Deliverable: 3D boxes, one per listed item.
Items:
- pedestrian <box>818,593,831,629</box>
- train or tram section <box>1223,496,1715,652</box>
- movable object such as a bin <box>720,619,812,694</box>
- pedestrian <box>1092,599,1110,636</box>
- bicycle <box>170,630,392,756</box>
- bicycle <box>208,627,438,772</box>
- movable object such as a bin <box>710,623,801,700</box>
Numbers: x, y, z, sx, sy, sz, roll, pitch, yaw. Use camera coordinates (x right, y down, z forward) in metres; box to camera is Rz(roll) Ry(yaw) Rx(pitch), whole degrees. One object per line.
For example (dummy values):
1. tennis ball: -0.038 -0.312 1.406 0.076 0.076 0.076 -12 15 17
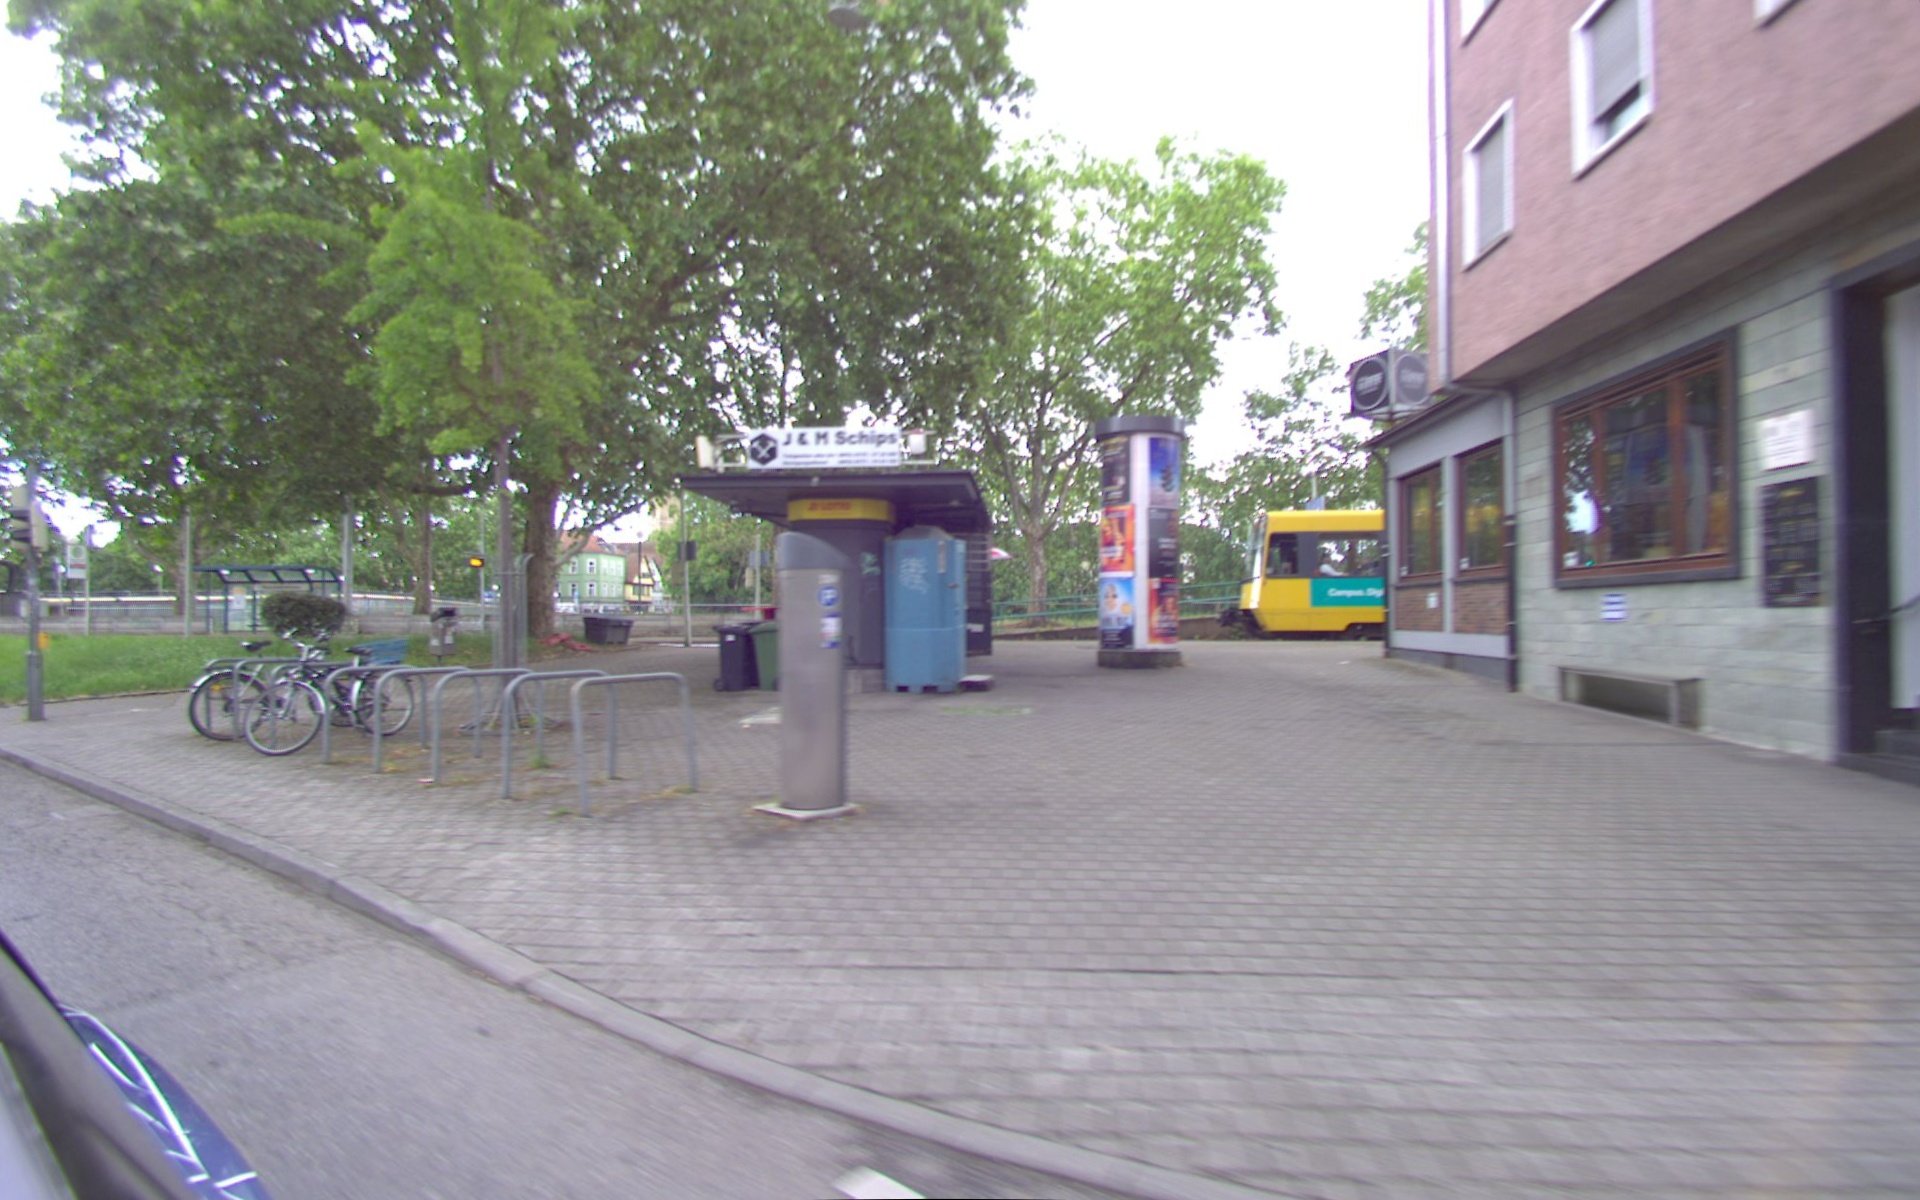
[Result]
1. pedestrian: -6.140 0.500 45.917 0.527 1.635 0.501 0 2 4
2. train or tram section: 12.609 -0.724 26.100 10.870 3.699 2.920 0 2 6
3. movable object such as a bin: -2.866 0.829 15.042 1.098 0.972 0.967 -3 2 4
4. pedestrian: 6.321 0.785 45.354 0.525 1.635 0.669 -1 3 -17
5. bicycle: -7.141 0.926 10.718 0.578 1.122 1.849 -1 1 43
6. bicycle: -6.131 0.900 9.863 0.720 1.185 1.794 -1 1 22
7. movable object such as a bin: -2.844 0.850 14.122 1.065 0.972 0.672 -3 2 4
